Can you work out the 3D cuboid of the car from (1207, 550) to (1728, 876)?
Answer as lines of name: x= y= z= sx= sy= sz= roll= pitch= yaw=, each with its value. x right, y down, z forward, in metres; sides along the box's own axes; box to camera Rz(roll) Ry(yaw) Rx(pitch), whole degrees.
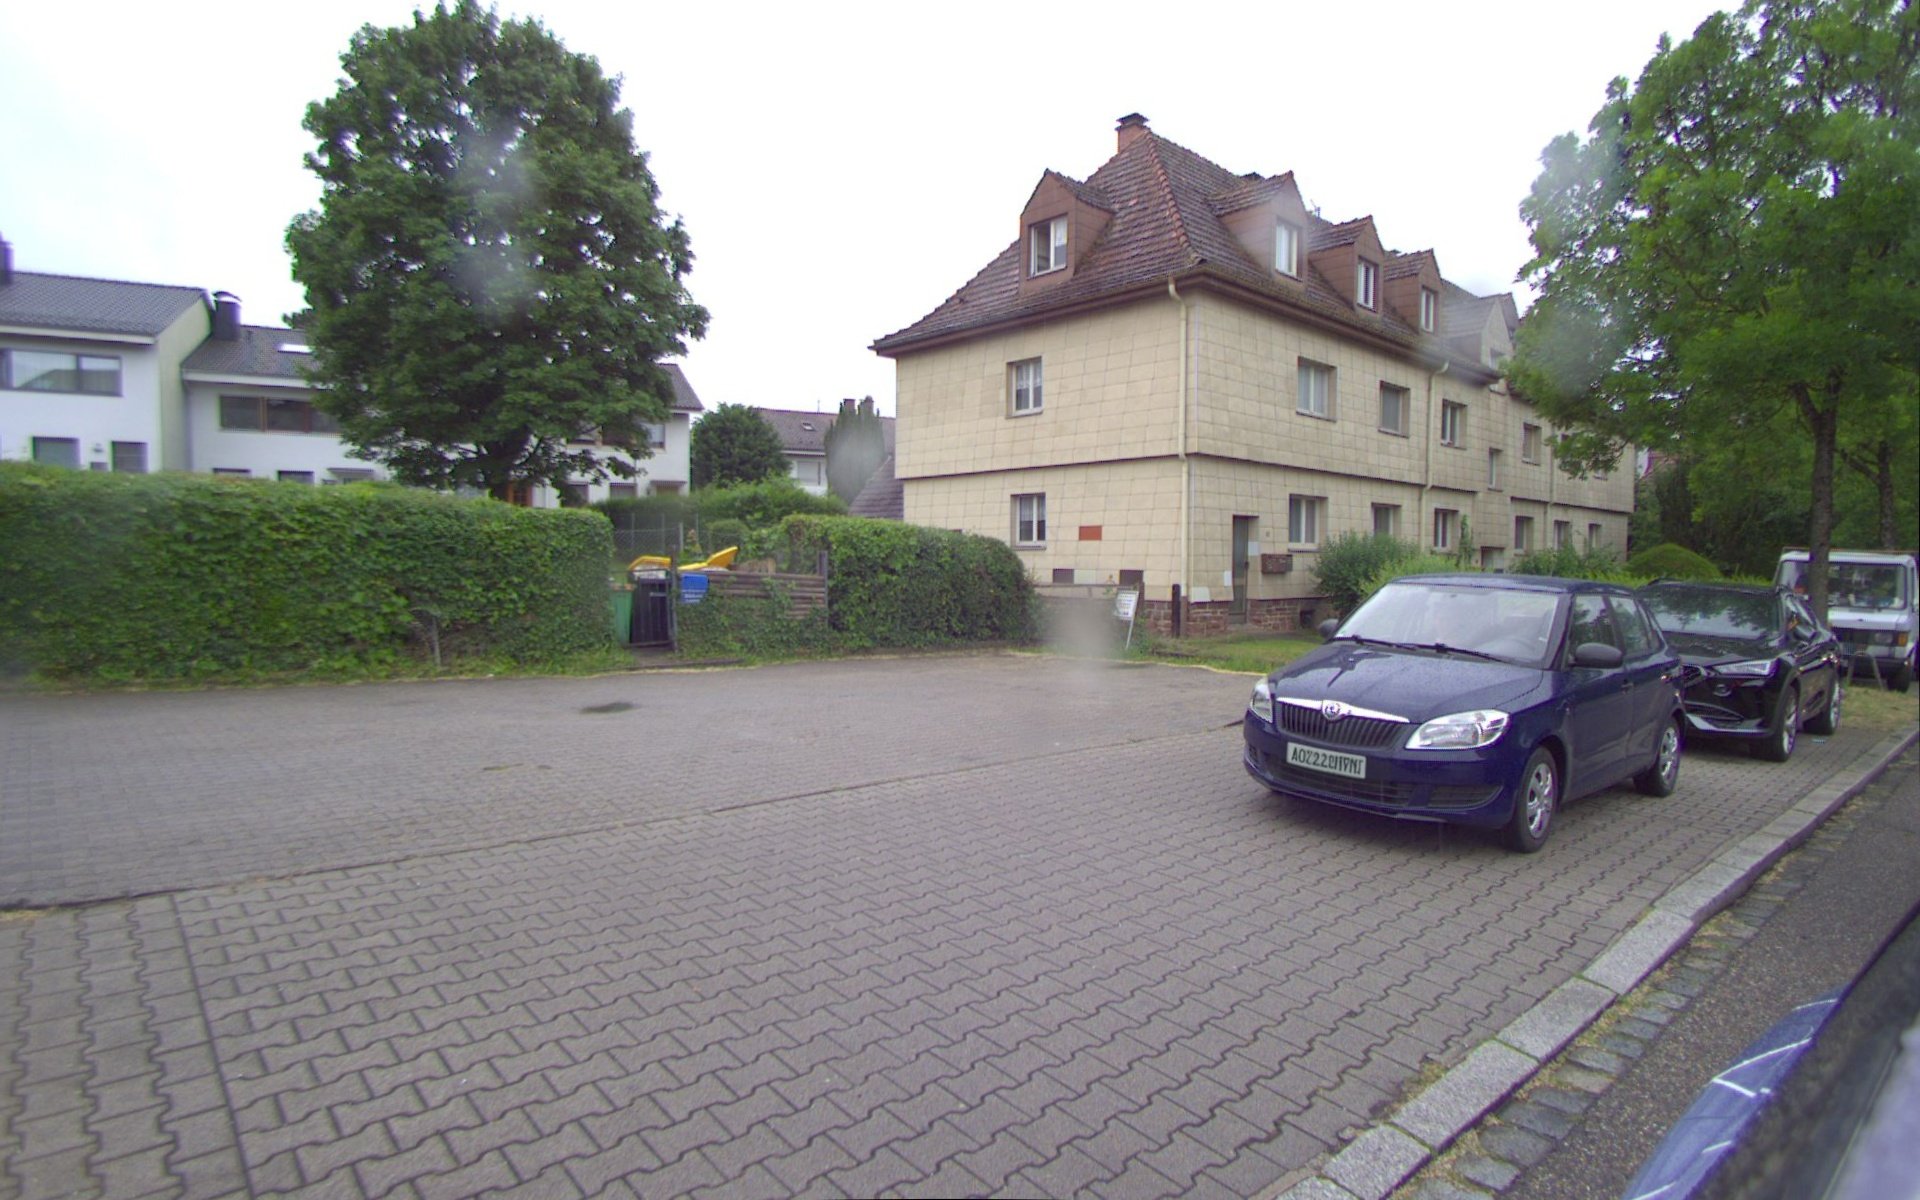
car: x=3.437 y=0.508 z=6.555 sx=3.788 sy=1.490 sz=1.608 roll=0 pitch=3 yaw=-40

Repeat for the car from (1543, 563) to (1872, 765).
car: x=7.500 y=0.484 z=10.000 sx=4.111 sy=1.516 sz=1.718 roll=0 pitch=4 yaw=-42

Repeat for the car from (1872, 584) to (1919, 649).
car: x=23.983 y=0.510 z=25.018 sx=3.951 sy=1.454 sz=1.605 roll=3 pitch=3 yaw=-42

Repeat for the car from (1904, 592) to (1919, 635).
car: x=33.612 y=0.484 z=34.518 sx=4.423 sy=1.406 sz=1.691 roll=0 pitch=4 yaw=-43

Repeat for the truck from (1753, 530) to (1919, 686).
truck: x=15.932 y=0.071 z=17.762 sx=6.392 sy=2.248 sz=2.084 roll=0 pitch=4 yaw=-43
